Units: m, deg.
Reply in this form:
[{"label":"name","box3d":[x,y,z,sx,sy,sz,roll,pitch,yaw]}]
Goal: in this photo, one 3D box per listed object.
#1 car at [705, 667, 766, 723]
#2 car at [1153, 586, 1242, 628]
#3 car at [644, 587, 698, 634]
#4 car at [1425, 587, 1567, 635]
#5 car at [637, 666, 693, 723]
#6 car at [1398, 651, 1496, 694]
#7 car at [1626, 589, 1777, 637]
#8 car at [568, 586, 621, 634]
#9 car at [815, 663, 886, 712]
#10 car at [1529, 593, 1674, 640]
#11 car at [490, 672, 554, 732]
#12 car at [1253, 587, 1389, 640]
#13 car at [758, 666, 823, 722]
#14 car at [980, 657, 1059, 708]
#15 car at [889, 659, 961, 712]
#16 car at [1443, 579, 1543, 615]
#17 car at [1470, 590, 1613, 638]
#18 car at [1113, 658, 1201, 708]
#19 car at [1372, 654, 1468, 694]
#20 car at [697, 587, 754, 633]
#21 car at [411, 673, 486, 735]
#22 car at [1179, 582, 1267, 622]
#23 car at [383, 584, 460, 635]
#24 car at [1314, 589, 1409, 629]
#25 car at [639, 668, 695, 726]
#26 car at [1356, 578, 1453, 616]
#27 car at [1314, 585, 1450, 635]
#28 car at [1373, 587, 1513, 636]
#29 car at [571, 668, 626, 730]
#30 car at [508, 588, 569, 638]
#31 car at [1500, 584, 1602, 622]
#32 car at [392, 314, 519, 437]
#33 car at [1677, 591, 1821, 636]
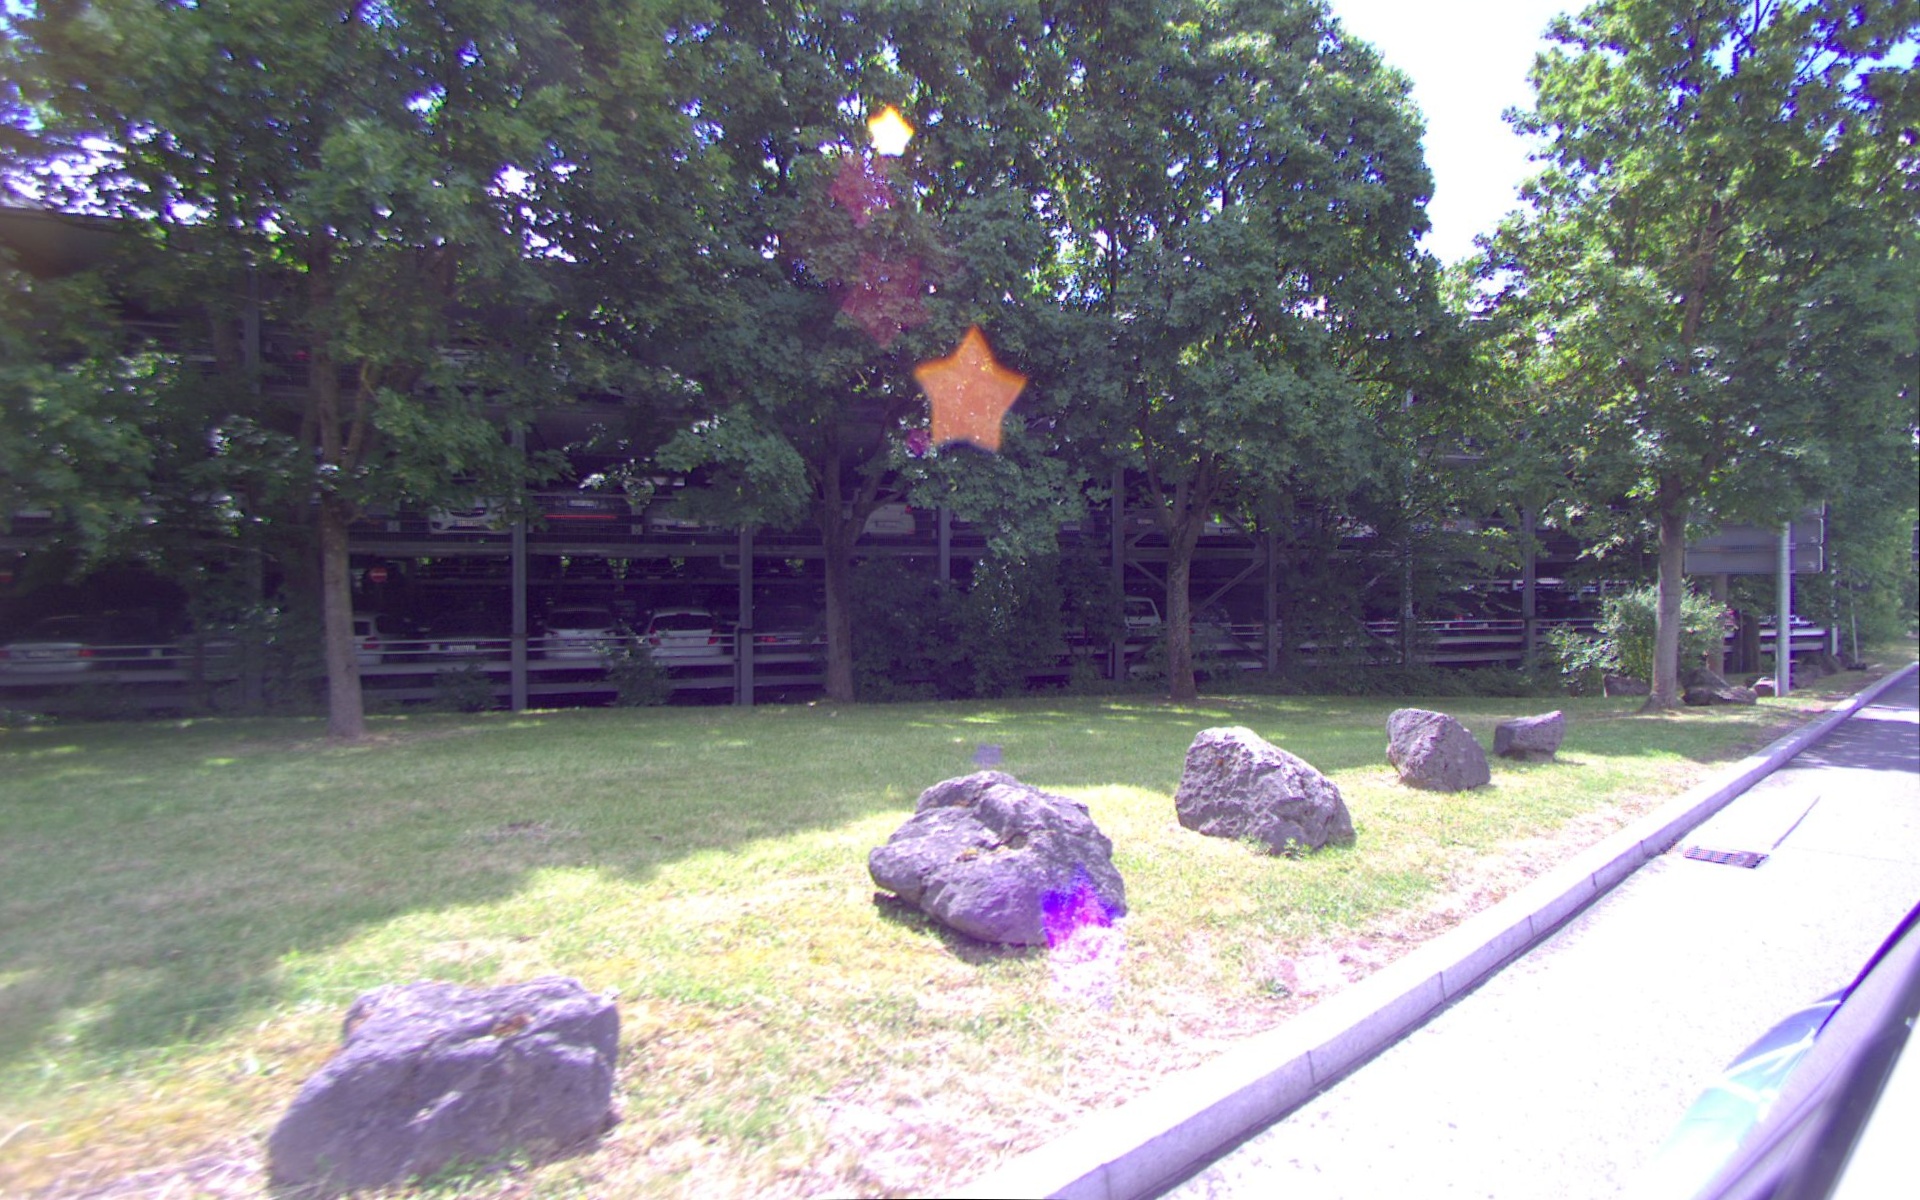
[{"label":"car","box3d":[-7.733,3.182,34.611,1.605,1.388,3.793,0,2,-19]},{"label":"car","box3d":[9.450,0.236,40.614,1.659,1.504,3.867,0,2,-19]},{"label":"car","box3d":[-9.860,0.312,34.331,1.561,1.388,3.793,0,2,-19]},{"label":"car","box3d":[16.833,0.295,31.994,1.659,1.409,3.866,0,1,-19]},{"label":"car","box3d":[-9.932,3.108,33.902,1.605,1.388,3.793,0,2,-19]},{"label":"car","box3d":[21.822,3.221,45.526,1.716,1.484,3.867,0,2,-19]},{"label":"car","box3d":[25.479,0.417,34.938,1.798,1.533,3.866,0,1,-19]},{"label":"car","box3d":[-12.095,0.294,33.588,1.561,1.388,3.793,0,2,-19]},{"label":"car","box3d":[-3.990,3.121,36.500,1.739,1.349,3.806,0,1,-19]},{"label":"car","box3d":[21.223,0.504,33.660,1.659,1.409,3.866,0,1,-19]},{"label":"car","box3d":[-14.079,3.240,32.689,1.605,1.388,3.793,0,2,-19]},{"label":"car","box3d":[10.411,0.343,29.489,1.659,1.409,3.866,0,1,-19]},{"label":"car","box3d":[-5.922,3.201,35.106,1.605,1.388,3.793,0,2,-19]},{"label":"car","box3d":[2.225,3.118,38.971,1.659,1.464,3.867,0,2,-19]},{"label":"car","box3d":[-1.338,3.104,37.472,1.605,1.464,3.793,0,2,-19]},{"label":"car","box3d":[24.067,-0.164,45.859,1.716,1.460,3.867,0,2,-19]},{"label":"car","box3d":[18.620,0.414,32.592,1.659,1.409,3.866,0,1,-19]},{"label":"car","box3d":[7.694,3.204,39.859,1.659,1.464,3.867,0,2,-19]},{"label":"car","box3d":[20.334,3.256,44.913,1.644,1.327,3.867,0,2,-19]},{"label":"car","box3d":[-8.232,0.301,35.378,1.561,1.388,3.793,0,2,-19]},{"label":"car","box3d":[-16.073,3.228,31.938,1.605,1.388,3.793,0,2,-19]},{"label":"car","box3d":[10.894,0.043,42.118,1.659,1.504,3.867,0,2,-19]},{"label":"car","box3d":[-16.928,0.256,31.982,1.561,1.388,3.793,0,2,-19]},{"label":"car","box3d":[17.317,0.350,43.839,1.659,1.504,3.867,0,2,-19]},{"label":"car","box3d":[-9.812,3.172,33.775,1.605,1.388,3.793,0,2,-19]},{"label":"car","box3d":[19.498,-0.165,44.595,1.716,1.504,3.867,0,2,-19]},{"label":"car","box3d":[12.743,0.256,30.793,1.659,1.409,3.866,0,1,-19]},{"label":"car","box3d":[14.744,0.308,31.108,1.659,1.409,3.866,0,1,-19]},{"label":"car","box3d":[-11.776,3.162,33.053,1.605,1.464,3.793,0,2,-19]},{"label":"car","box3d":[-13.459,0.373,32.460,1.561,1.388,3.793,0,2,-19]},{"label":"car","box3d":[27.908,0.129,47.919,1.732,1.570,3.945,1,3,-18]},{"label":"car","box3d":[-10.938,-4.789,22.202,1.829,1.683,4.007,-1,-1,-17]},{"label":"car","box3d":[27.618,0.438,35.562,1.624,1.429,3.712,0,1,-19]}]
